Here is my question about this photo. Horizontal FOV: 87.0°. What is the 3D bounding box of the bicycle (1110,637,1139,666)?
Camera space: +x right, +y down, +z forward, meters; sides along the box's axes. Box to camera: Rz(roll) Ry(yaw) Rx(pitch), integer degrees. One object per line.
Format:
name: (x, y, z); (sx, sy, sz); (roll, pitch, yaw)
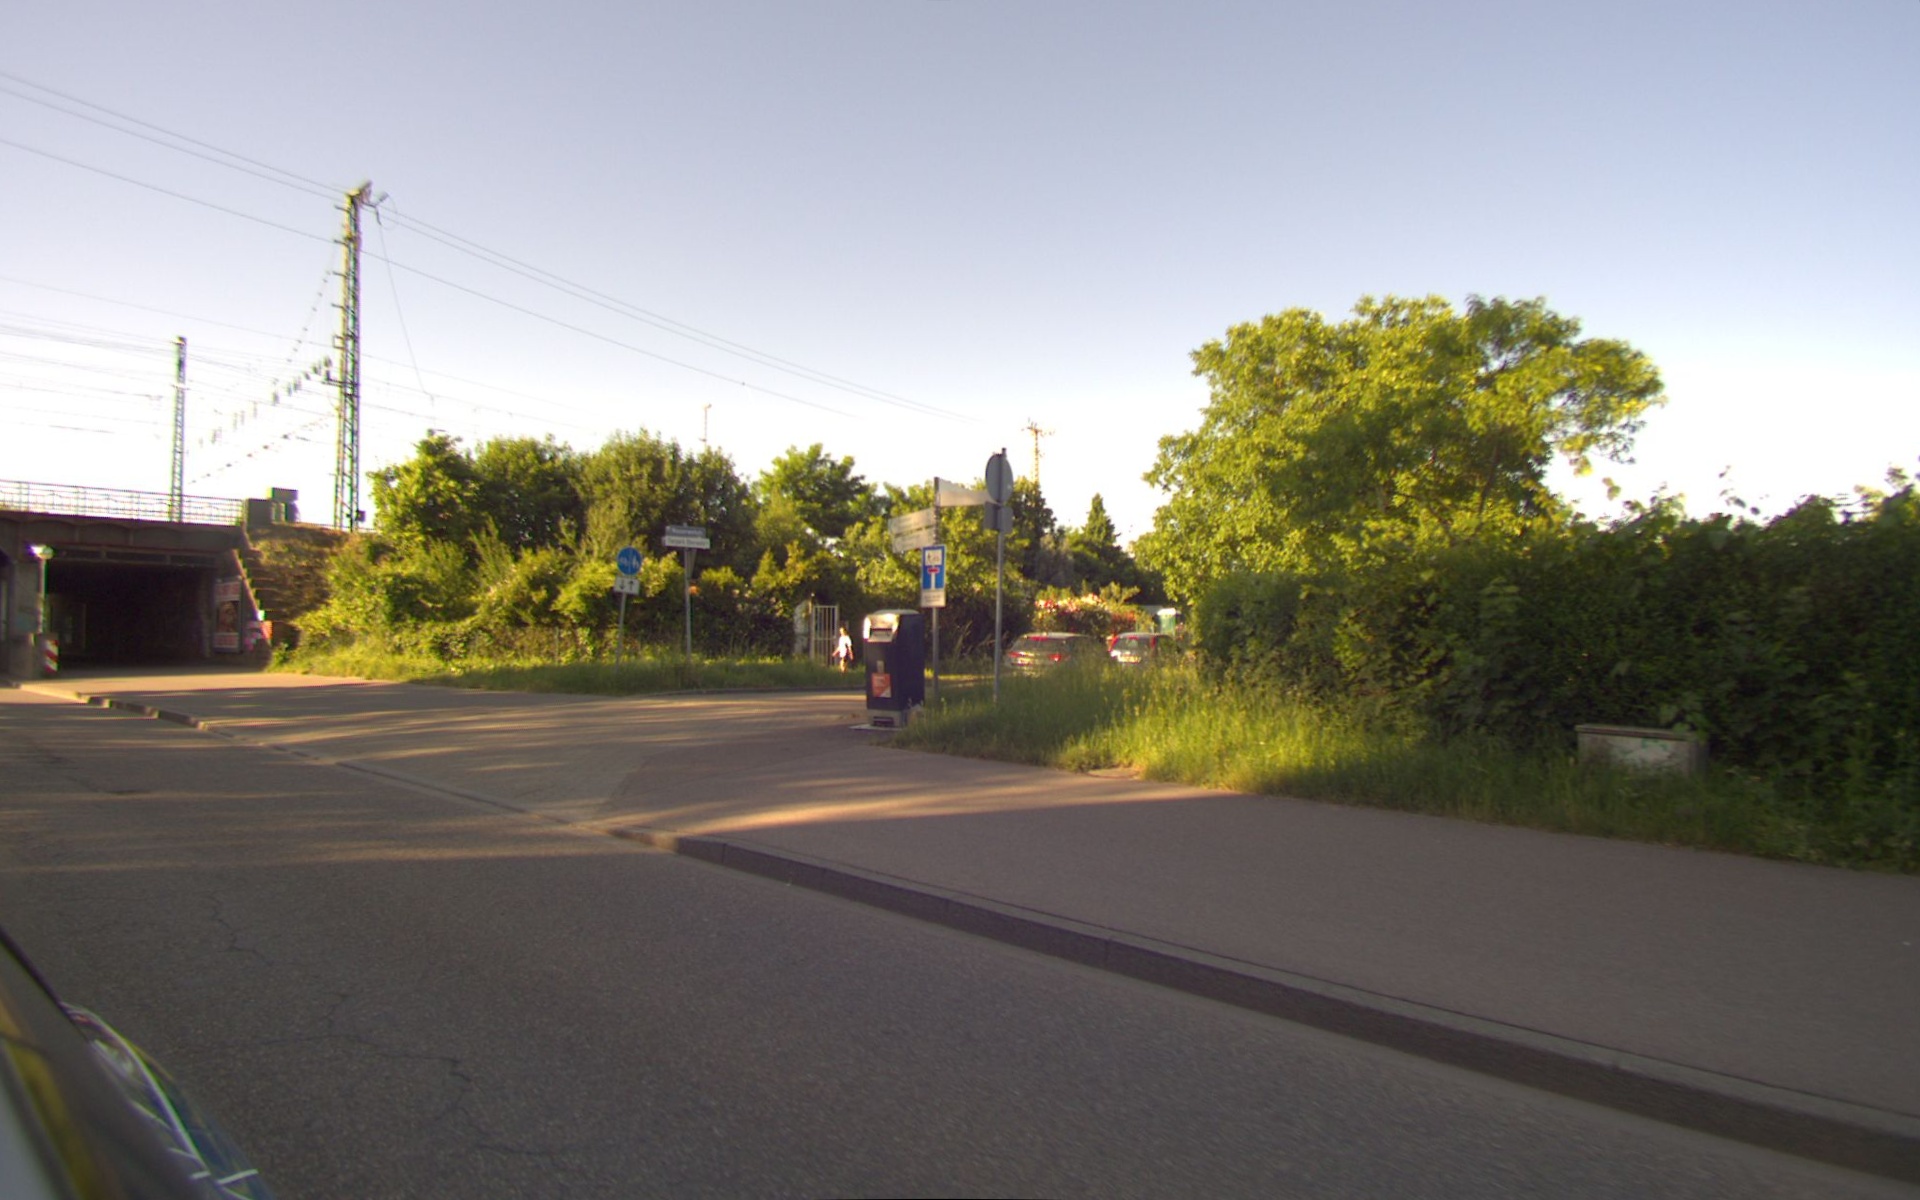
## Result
bicycle: (7.735, 2.396, 47.624); (1.232, 1.204, 2.903); (-1, 0, 7)

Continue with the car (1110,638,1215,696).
car: (5.947, 1.885, 29.398); (1.880, 1.459, 3.998); (1, -1, 29)

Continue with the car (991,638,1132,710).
car: (2.484, 1.658, 23.816); (1.880, 1.459, 3.998); (1, -1, 29)

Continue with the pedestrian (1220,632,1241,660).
pedestrian: (14.402, 2.443, 53.863); (0.812, 1.415, 1.009); (1, -3, 32)

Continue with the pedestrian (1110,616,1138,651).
pedestrian: (7.728, 1.560, 47.639); (1.224, 1.585, 1.463); (-1, 0, 8)

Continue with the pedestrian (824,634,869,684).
pedestrian: (-3.312, 1.717, 29.543); (0.812, 1.415, 1.009); (1, -3, 32)
